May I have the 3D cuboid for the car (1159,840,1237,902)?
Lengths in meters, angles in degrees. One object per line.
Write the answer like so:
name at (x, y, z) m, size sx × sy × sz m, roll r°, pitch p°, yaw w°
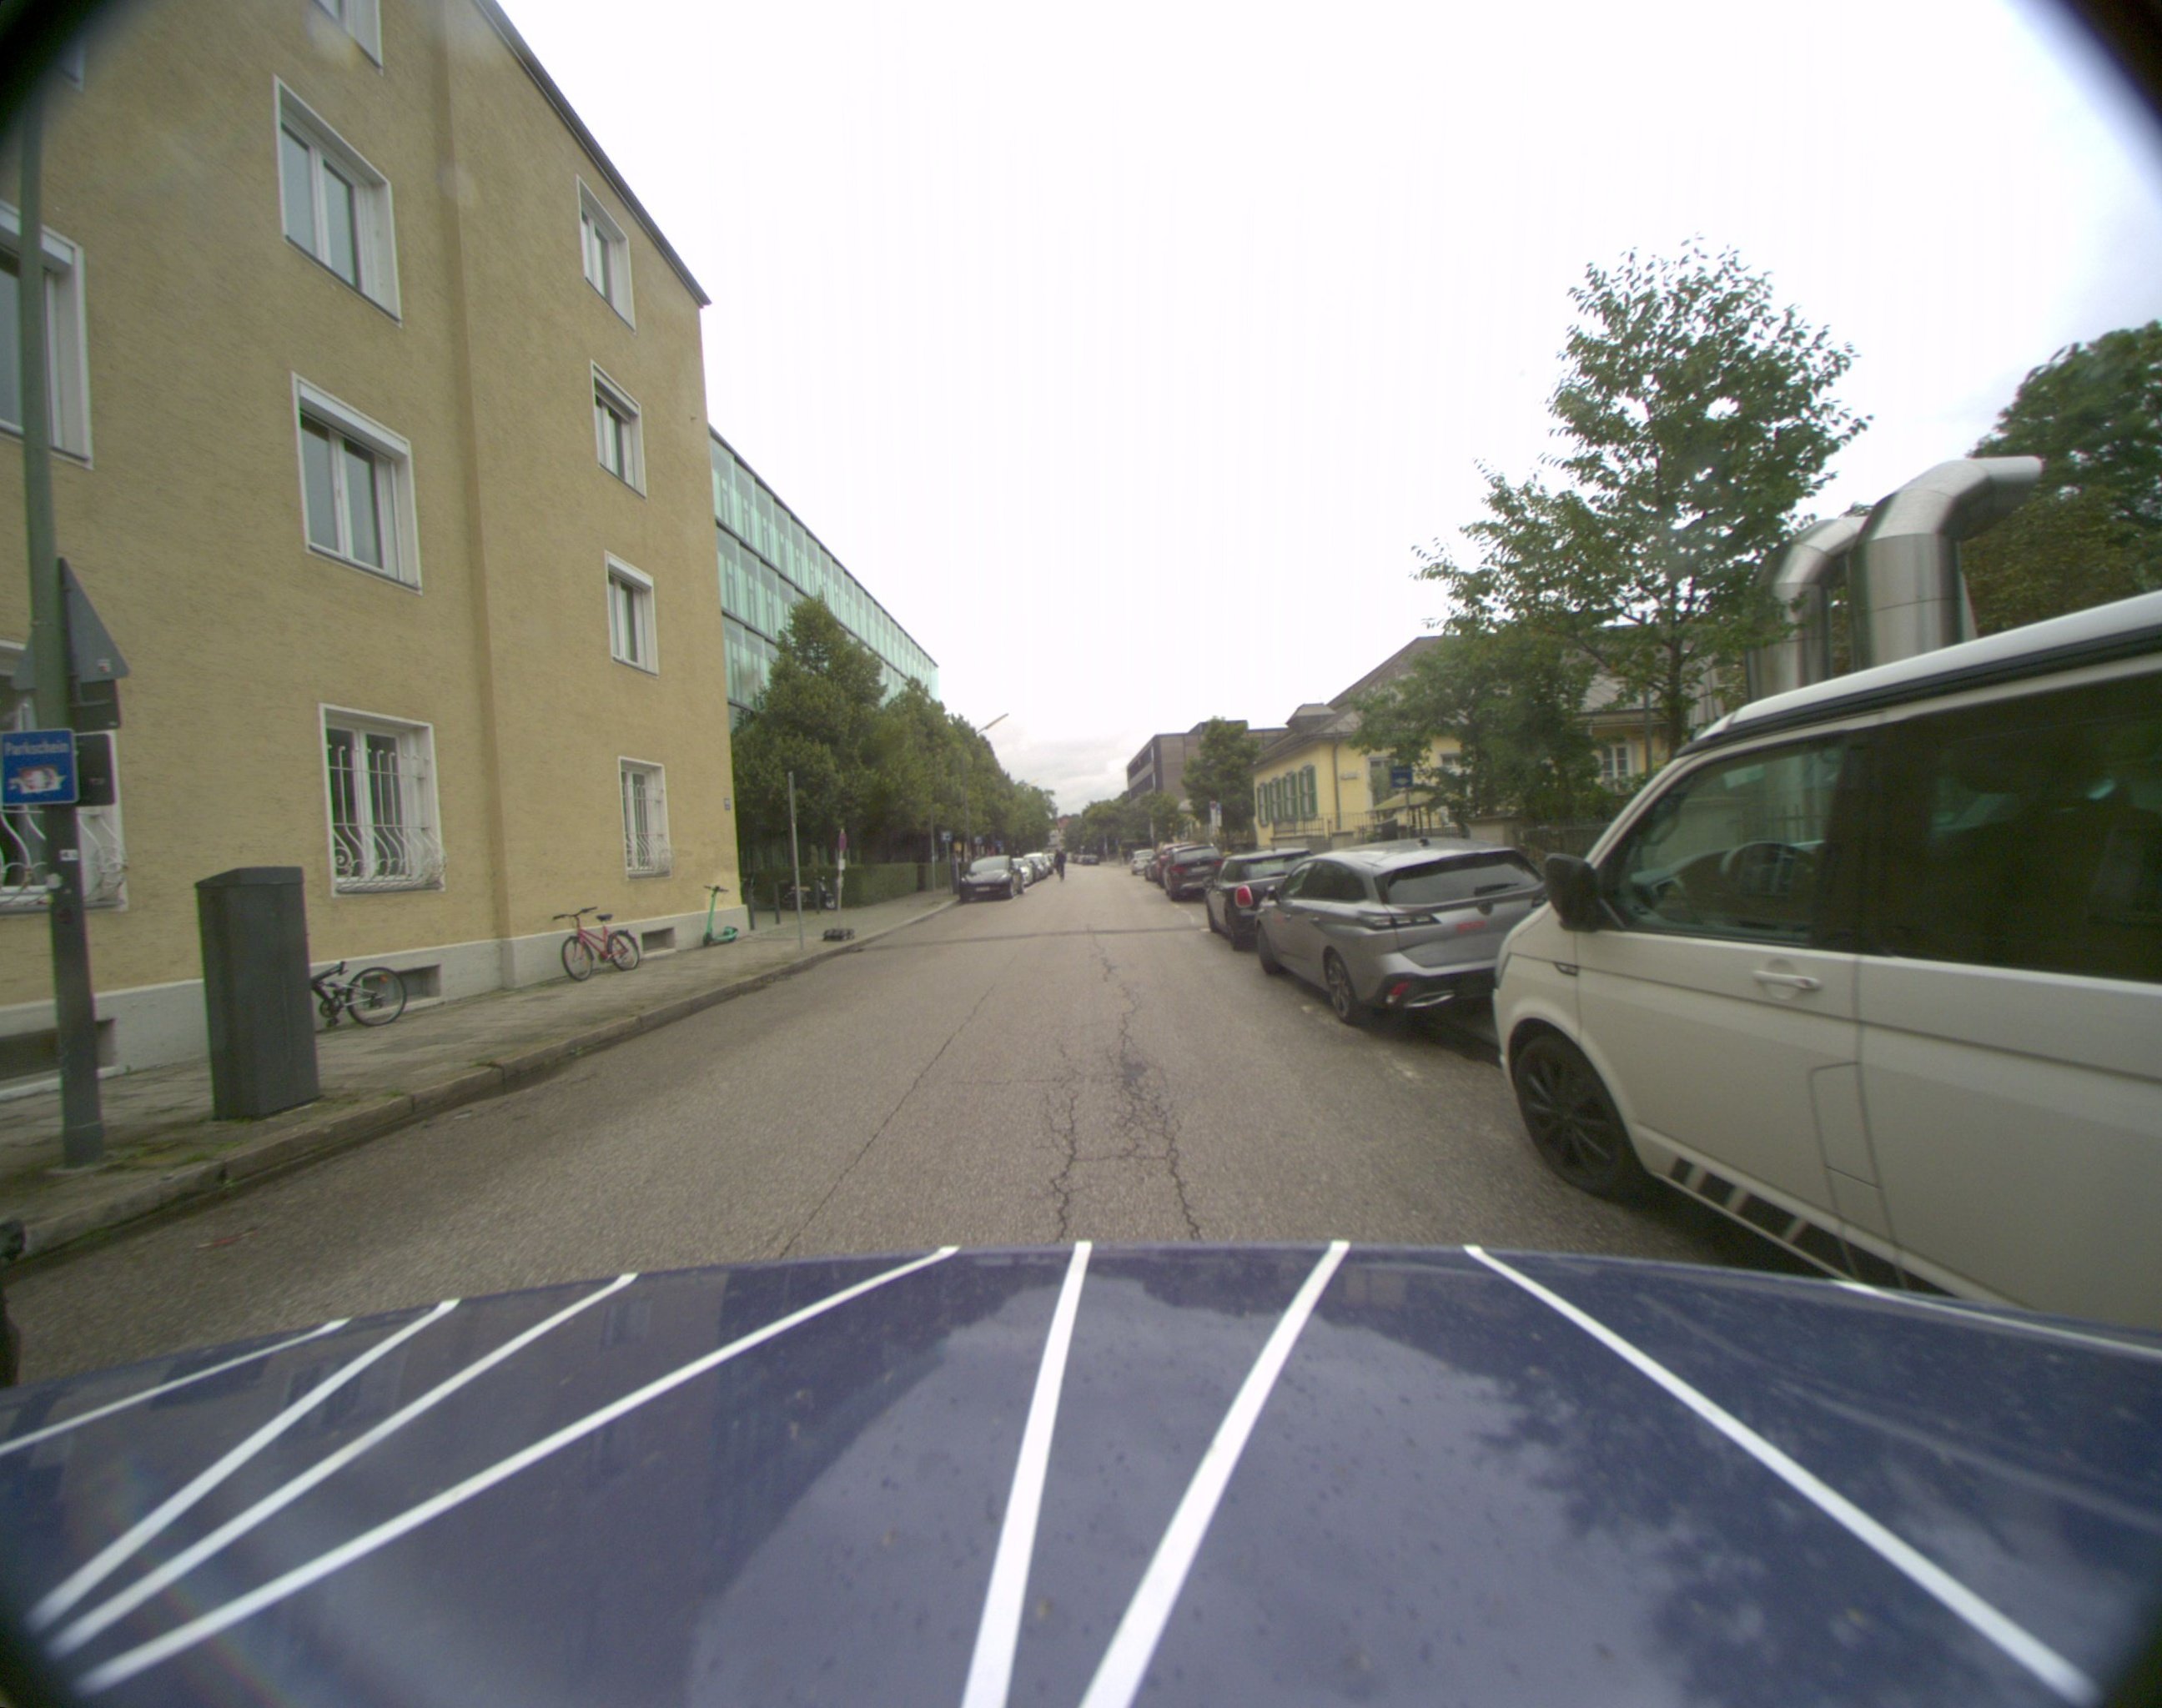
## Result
car at (3.512, 0.450, 23.565) m, size 1.850 × 1.598 × 4.743 m, roll -5°, pitch 0°, yaw 4°

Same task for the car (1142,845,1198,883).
car at (4.112, 0.423, 35.861) m, size 1.901 × 1.510 × 4.654 m, roll -5°, pitch 0°, yaw -1°

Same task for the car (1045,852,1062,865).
car at (-3.602, 0.626, 99.638) m, size 1.959 × 1.494 × 4.485 m, roll -5°, pitch 0°, yaw -3°

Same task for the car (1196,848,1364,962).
car at (3.091, 0.697, 12.702) m, size 1.863 × 1.536 × 4.188 m, roll -2°, pitch 1°, yaw 3°

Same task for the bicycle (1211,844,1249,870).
bicycle at (7.369, 0.165, 37.595) m, size 1.705 × 1.165 × 0.352 m, roll -4°, pitch 1°, yaw 0°

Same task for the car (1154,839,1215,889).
car at (4.050, 0.339, 30.465) m, size 1.906 × 1.682 × 4.808 m, roll -5°, pitch 0°, yaw 3°

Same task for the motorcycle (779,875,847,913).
motorcycle at (-8.599, 1.275, 24.433) m, size 1.898 × 1.126 × 0.708 m, roll -1°, pitch 1°, yaw 3°

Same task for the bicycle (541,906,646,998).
bicycle at (-7.282, 1.429, 11.447) m, size 0.343 × 1.129 × 1.759 m, roll -3°, pitch 0°, yaw 1°

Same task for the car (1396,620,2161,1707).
car at (2.818, 0.517, 1.636) m, size 1.971 × 1.979 × 5.151 m, roll -5°, pitch 0°, yaw 0°

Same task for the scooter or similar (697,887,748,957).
scooter or similar at (-7.163, 1.337, 15.228) m, size 0.343 × 1.248 × 1.309 m, roll -2°, pitch 1°, yaw 1°

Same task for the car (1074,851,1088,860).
car at (-0.020, 0.272, 132.798) m, size 1.999 × 1.510 × 3.999 m, roll -5°, pitch 0°, yaw -3°

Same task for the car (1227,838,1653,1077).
car at (2.949, 0.709, 7.613) m, size 1.892 × 1.535 × 4.695 m, roll -4°, pitch 0°, yaw -1°

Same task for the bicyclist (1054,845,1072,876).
bicyclist at (-1.007, 0.367, 42.397) m, size 0.780 × 1.657 × 1.035 m, roll -5°, pitch 0°, yaw 5°

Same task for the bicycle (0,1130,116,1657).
bicycle at (-2.818, 1.302, 0.916) m, size 0.674 × 1.135 × 2.010 m, roll -5°, pitch 1°, yaw -2°

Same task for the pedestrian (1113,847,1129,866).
pedestrian at (4.570, 0.260, 86.390) m, size 1.480 × 2.002 × 1.500 m, roll -5°, pitch 1°, yaw -3°

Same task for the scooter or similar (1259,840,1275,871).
scooter or similar at (8.028, 0.054, 32.773) m, size 0.363 × 1.306 × 1.255 m, roll -3°, pitch 1°, yaw 26°

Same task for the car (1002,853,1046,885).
car at (-3.254, 0.825, 44.330) m, size 1.967 × 1.543 × 4.849 m, roll -5°, pitch 0°, yaw 2°

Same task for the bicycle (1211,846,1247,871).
bicycle at (7.257, 0.213, 37.221) m, size 1.633 × 1.130 × 0.387 m, roll -4°, pitch 1°, yaw 0°

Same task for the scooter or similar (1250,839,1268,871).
scooter or similar at (7.967, 0.038, 34.057) m, size 0.375 × 1.335 × 1.355 m, roll -3°, pitch 1°, yaw 28°

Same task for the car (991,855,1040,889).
car at (-3.280, 0.870, 38.871) m, size 1.999 × 1.451 × 4.956 m, roll -5°, pitch 0°, yaw -1°

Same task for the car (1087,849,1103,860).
car at (1.892, 0.087, 104.026) m, size 1.929 × 1.390 × 4.485 m, roll -3°, pitch 0°, yaw -3°

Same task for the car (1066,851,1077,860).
car at (-1.972, 0.269, 153.942) m, size 1.999 × 1.510 × 3.999 m, roll -5°, pitch 0°, yaw -3°

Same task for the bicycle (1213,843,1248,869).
bicycle at (7.529, 0.113, 38.295) m, size 1.631 × 1.166 × 0.466 m, roll -4°, pitch 1°, yaw 9°

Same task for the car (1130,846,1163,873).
car at (4.102, 0.299, 48.200) m, size 1.729 × 1.483 × 4.461 m, roll -5°, pitch 0°, yaw 1°

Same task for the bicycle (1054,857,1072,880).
bicycle at (-0.983, 0.785, 42.382) m, size 0.720 × 1.199 × 1.802 m, roll -5°, pitch -1°, yaw 5°

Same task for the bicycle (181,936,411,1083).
bicycle at (-7.712, 1.466, 7.598) m, size 0.343 × 1.076 × 1.813 m, roll -1°, pitch 1°, yaw 1°

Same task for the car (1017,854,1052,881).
car at (-3.018, 0.843, 50.219) m, size 1.952 × 1.543 × 5.004 m, roll -5°, pitch 0°, yaw 0°

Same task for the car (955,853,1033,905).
car at (-3.232, 0.870, 29.328) m, size 1.998 × 1.621 × 5.100 m, roll -5°, pitch 0°, yaw 4°

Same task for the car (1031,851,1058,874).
car at (-2.950, 0.654, 62.134) m, size 1.872 × 1.682 × 4.784 m, roll -5°, pitch 0°, yaw 0°

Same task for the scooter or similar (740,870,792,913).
scooter or similar at (-10.188, 1.197, 24.613) m, size 1.351 × 1.295 × 0.670 m, roll -2°, pitch 3°, yaw -2°

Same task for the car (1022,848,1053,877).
car at (-3.167, 0.582, 56.098) m, size 1.789 × 1.884 × 4.574 m, roll -5°, pitch 0°, yaw 1°
